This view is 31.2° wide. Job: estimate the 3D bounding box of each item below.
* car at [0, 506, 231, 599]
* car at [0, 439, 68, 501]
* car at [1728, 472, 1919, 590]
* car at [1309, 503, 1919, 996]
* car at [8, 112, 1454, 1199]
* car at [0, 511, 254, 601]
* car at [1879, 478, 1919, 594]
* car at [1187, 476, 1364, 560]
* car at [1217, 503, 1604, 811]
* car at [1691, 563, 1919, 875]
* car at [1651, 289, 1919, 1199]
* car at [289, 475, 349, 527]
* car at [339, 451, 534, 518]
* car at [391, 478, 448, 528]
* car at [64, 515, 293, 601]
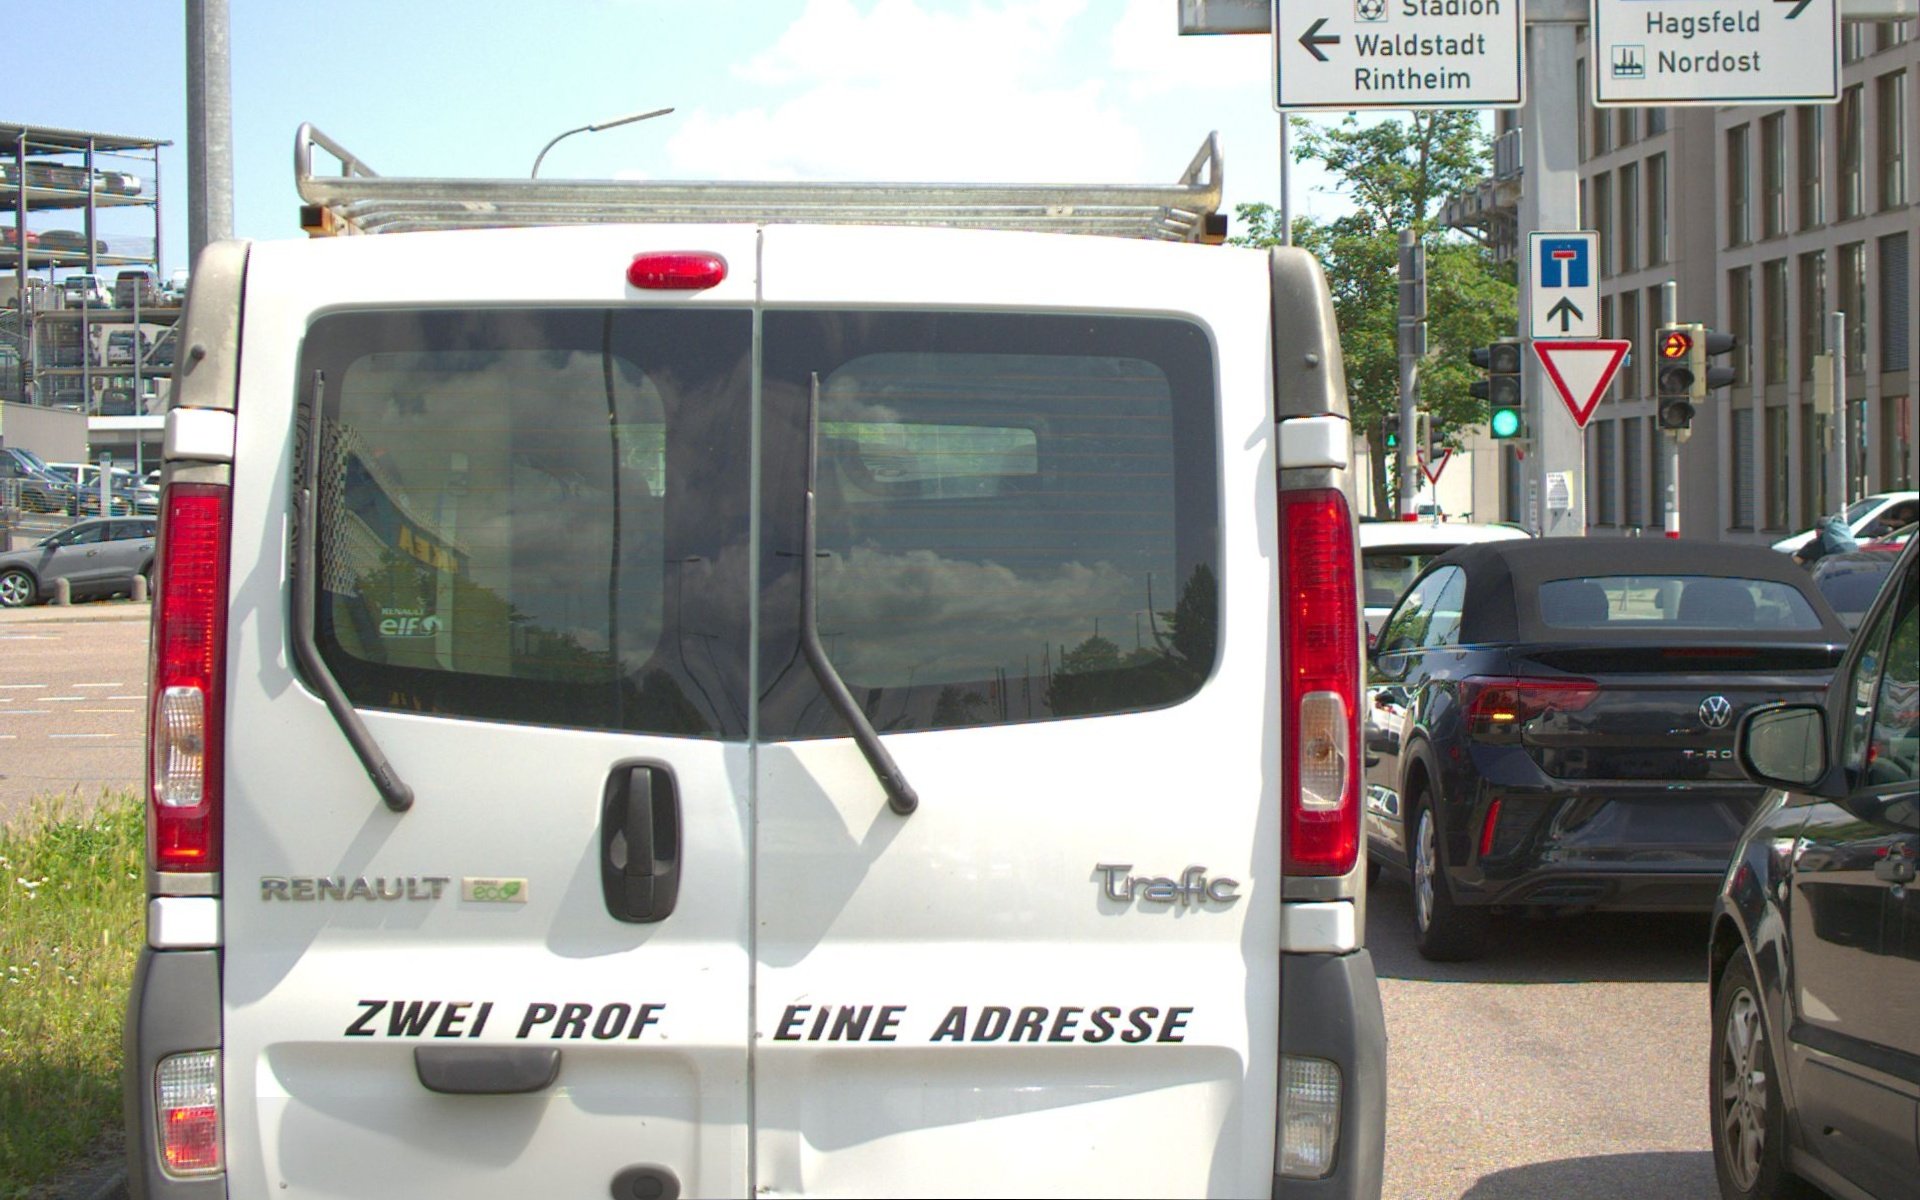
[{"bbox_3d":[-16.194,-0.892,64.720,4.574,1.672,1.907,1,0,-3],"label":"car"},{"bbox_3d":[-29.272,-3.936,103.563,4.440,1.795,1.765,1,0,-6],"label":"car"},{"bbox_3d":[15.192,-1.089,55.675,4.975,1.831,2.000,1,0,-8],"label":"car"},{"bbox_3d":[2.433,0.456,13.358,1.774,1.624,4.000,0,1,1],"label":"car"},{"bbox_3d":[-0.341,0.319,6.992,1.973,2.053,4.565,0,1,-1],"label":"car"},{"bbox_3d":[-16.284,-0.860,67.321,4.574,1.672,1.907,1,0,-3],"label":"car"},{"bbox_3d":[15.480,-0.877,49.004,4.197,1.621,1.828,1,0,-8],"label":"car"},{"bbox_3d":[7.836,-2.018,85.603,3.986,2.007,2.000,1,0,-8],"label":"car"},{"bbox_3d":[2.537,0.264,20.221,1.774,1.624,4.000,0,1,1],"label":"car"},{"bbox_3d":[5.627,0.811,20.798,1.859,1.650,4.217,1,-5,5],"label":"car"},{"bbox_3d":[2.472,0.443,5.815,1.823,1.898,4.000,0,1,1],"label":"car"},{"bbox_3d":[-20.306,-3.117,109.002,1.560,1.547,3.603,1,1,-5],"label":"car"},{"bbox_3d":[-17.632,-3.884,115.961,6.386,2.095,1.765,1,0,-5],"label":"car"},{"bbox_3d":[-17.044,-3.036,108.540,1.560,1.546,3.603,0,1,-5],"label":"car"},{"bbox_3d":[-17.130,-0.932,75.518,4.574,1.672,1.908,-2,3,-3],"label":"car"}]
